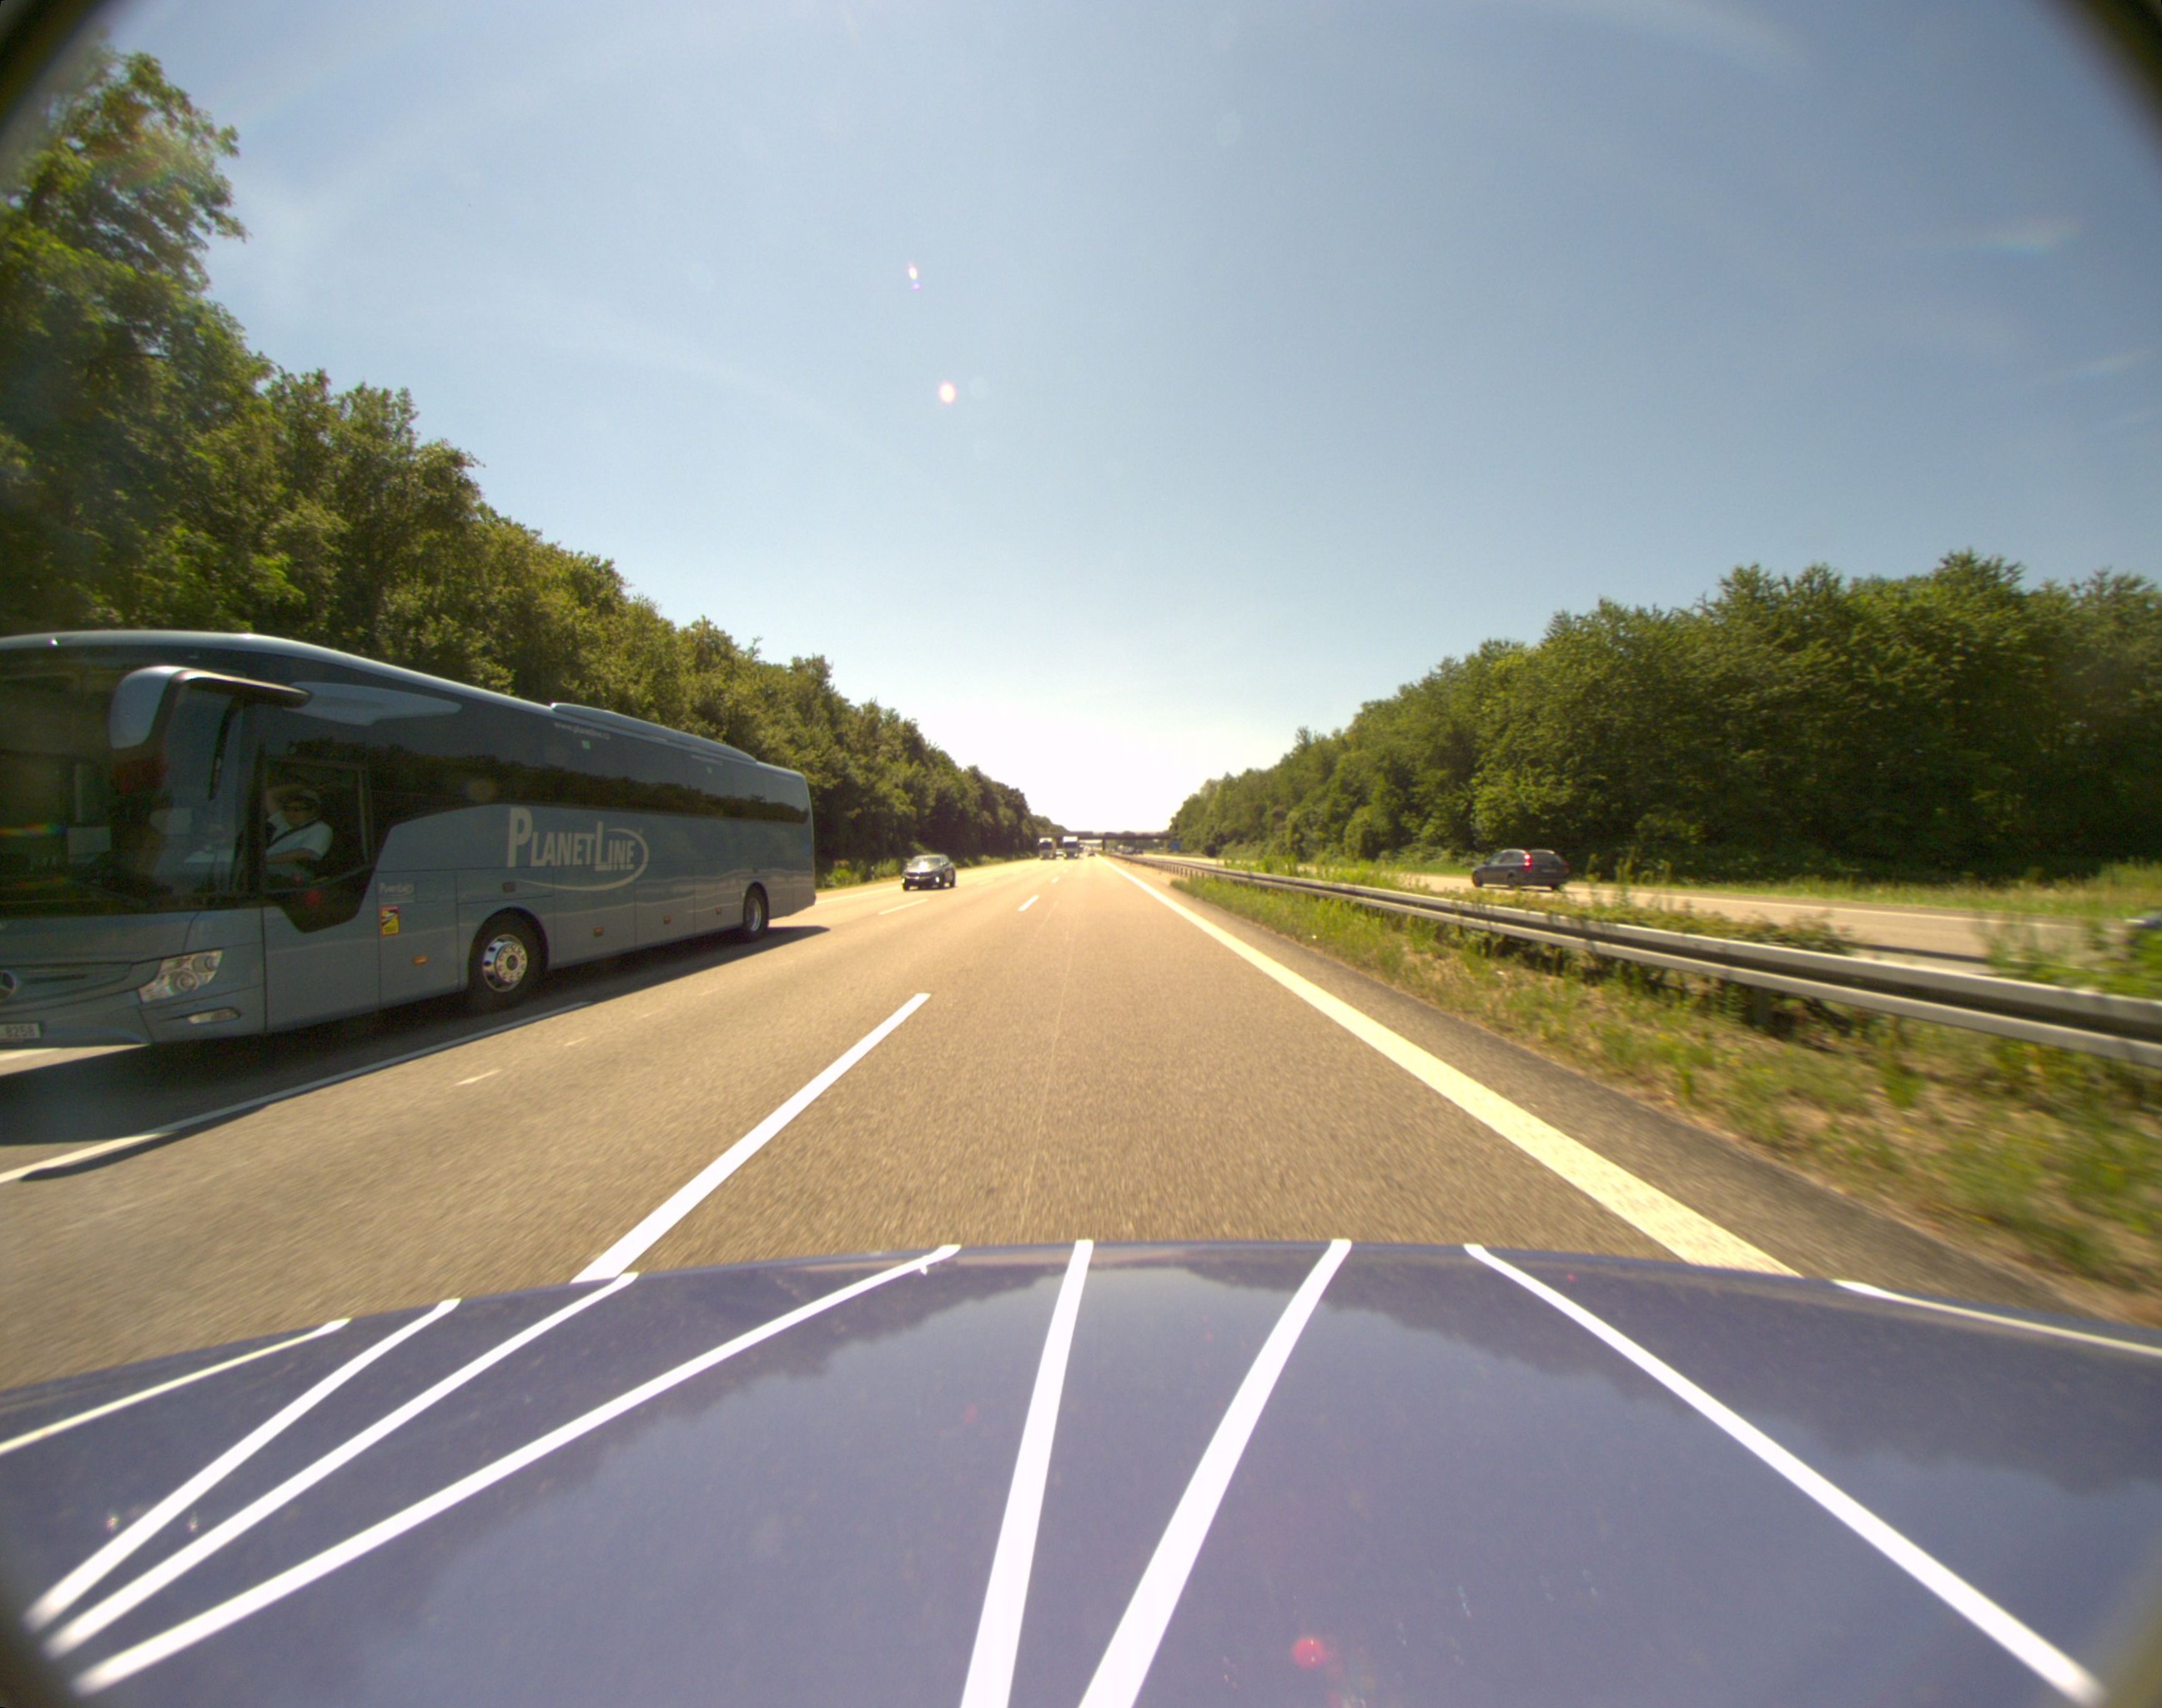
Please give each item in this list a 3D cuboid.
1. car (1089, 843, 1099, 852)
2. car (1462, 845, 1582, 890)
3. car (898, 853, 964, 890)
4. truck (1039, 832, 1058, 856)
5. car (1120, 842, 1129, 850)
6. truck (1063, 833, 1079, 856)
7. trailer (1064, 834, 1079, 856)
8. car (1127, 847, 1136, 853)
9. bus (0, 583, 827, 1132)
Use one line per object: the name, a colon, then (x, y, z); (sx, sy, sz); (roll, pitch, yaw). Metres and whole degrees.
car: (2.900, -1.440, 173.732); (2.073, 1.959, 5.109); (0, 0, -1)
car: (16.526, 0.466, 28.797); (1.804, 1.523, 4.677); (-2, 0, 0)
car: (-6.805, 0.750, 34.944); (1.904, 1.523, 4.760); (-2, 0, 2)
truck: (-5.911, -1.827, 138.951); (3.055, 4.190, 6.048); (-2, 0, 0)
car: (12.280, -2.211, 215.754); (2.092, 2.275, 5.276); (0, 1, 0)
truck: (-1.760, -1.649, 139.065); (2.684, 4.046, 6.048); (-2, 0, 0)
trailer: (-1.791, -1.690, 145.949); (2.684, 4.046, 13.833); (-2, 0, 0)
car: (12.054, -0.993, 181.942); (1.810, 1.472, 4.567); (-1, 1, 0)
bus: (-7.312, 0.002, 11.232); (2.809, 3.576, 12.472); (-2, 1, 0)
